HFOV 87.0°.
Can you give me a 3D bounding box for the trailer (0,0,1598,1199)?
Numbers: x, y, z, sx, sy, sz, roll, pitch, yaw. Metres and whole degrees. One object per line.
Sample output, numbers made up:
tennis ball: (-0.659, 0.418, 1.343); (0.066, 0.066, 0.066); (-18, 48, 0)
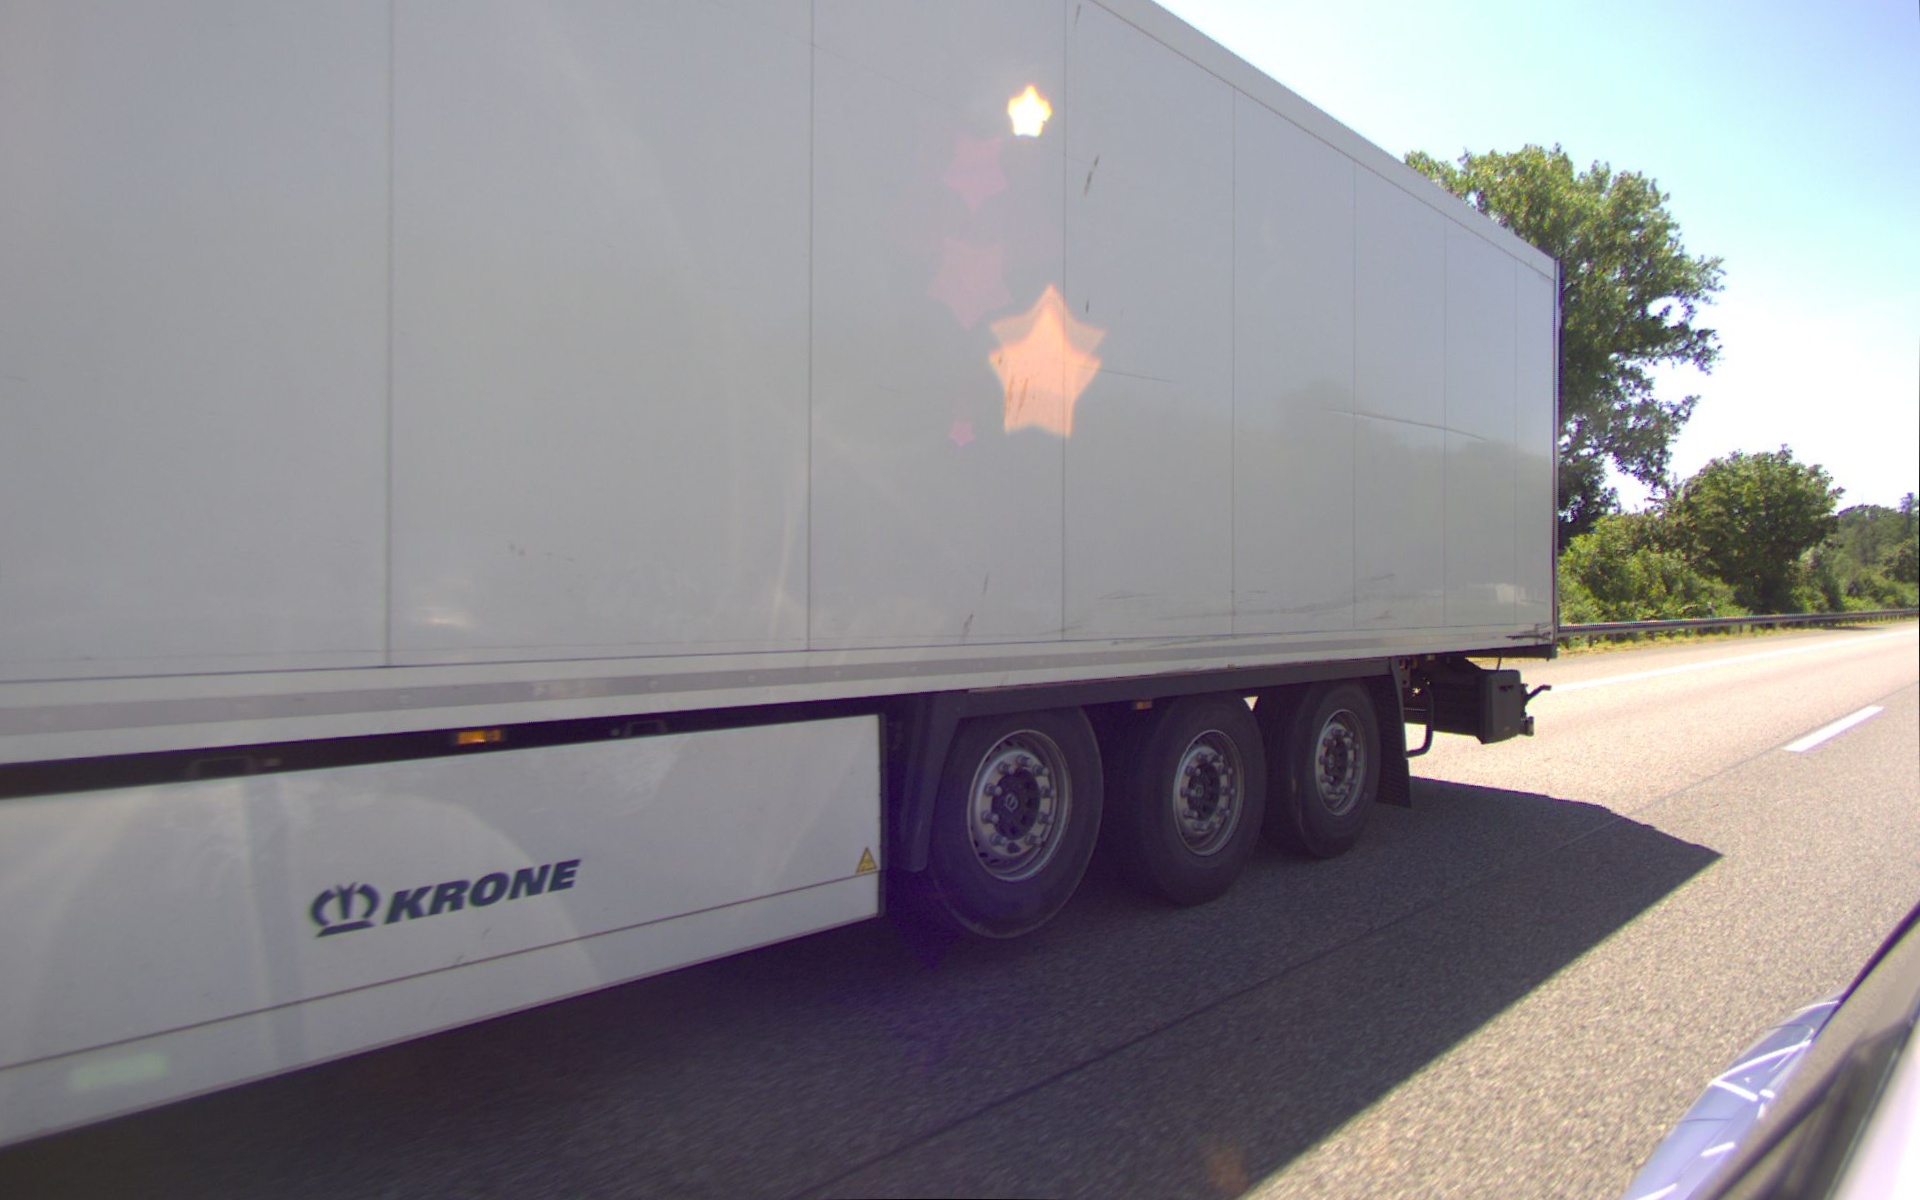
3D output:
trailer: (-0.830, -0.684, 4.601); (12.314, 4.158, 2.964); (0, 0, -41)
